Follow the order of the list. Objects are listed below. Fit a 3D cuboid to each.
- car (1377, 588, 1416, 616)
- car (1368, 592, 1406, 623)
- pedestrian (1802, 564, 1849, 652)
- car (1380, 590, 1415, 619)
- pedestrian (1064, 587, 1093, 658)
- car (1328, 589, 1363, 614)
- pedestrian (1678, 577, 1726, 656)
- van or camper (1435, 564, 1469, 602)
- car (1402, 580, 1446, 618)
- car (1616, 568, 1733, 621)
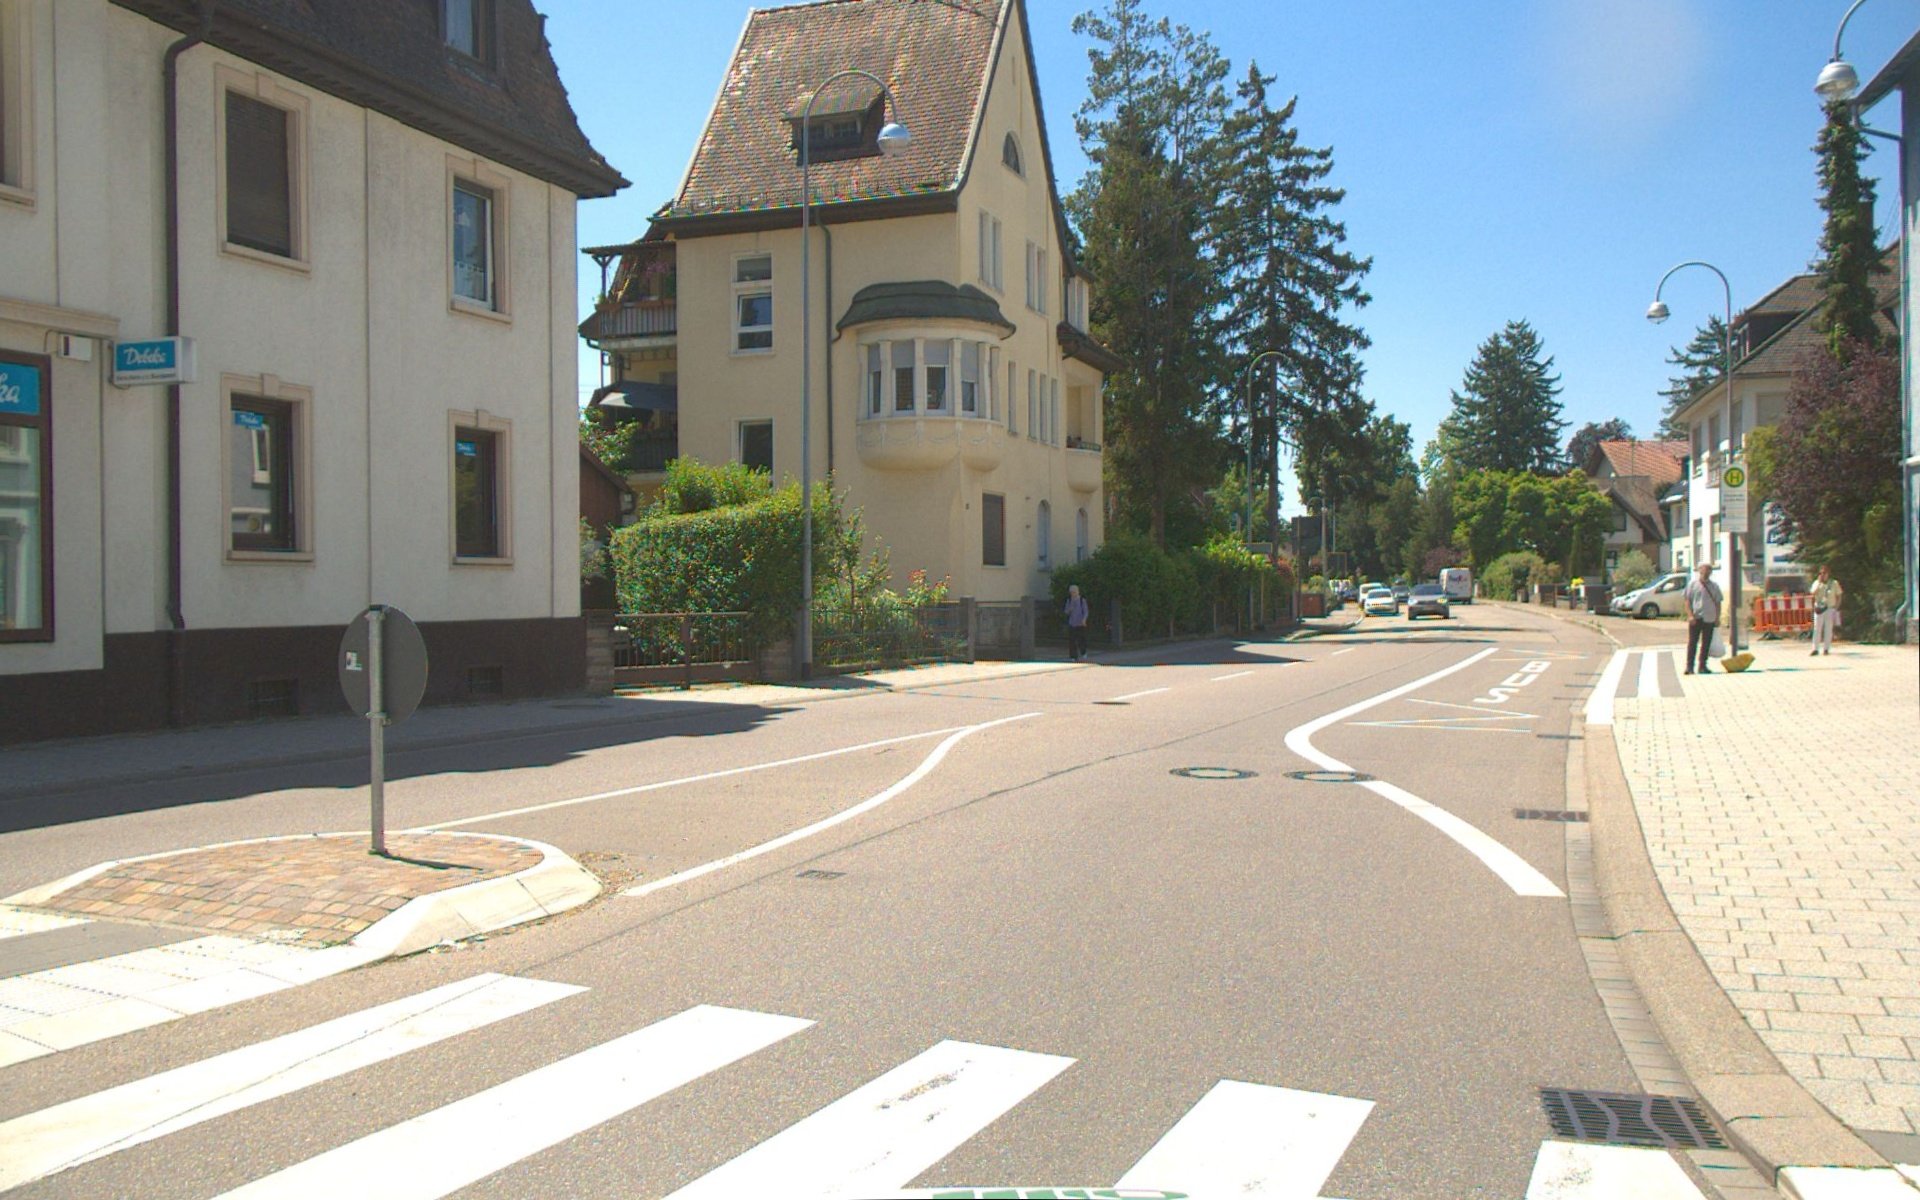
[{"bbox_3d":[32.815,0.152,124.539,1.952,2.049,4.001,0,0,1],"label":"car"},{"bbox_3d":[23.466,0.389,90.887,1.951,1.680,4.003,0,0,15],"label":"car"},{"bbox_3d":[16.439,0.146,31.422,0.653,1.621,0.587,-4,-1,23],"label":"pedestrian"},{"bbox_3d":[25.515,0.254,96.528,1.951,1.680,4.003,0,0,15],"label":"car"},{"bbox_3d":[2.563,0.482,35.690,0.512,1.535,0.473,0,0,22],"label":"pedestrian"},{"bbox_3d":[32.664,0.132,140.128,1.953,2.049,3.998,0,0,-2],"label":"car"},{"bbox_3d":[12.672,0.277,28.249,0.653,1.308,0.587,-4,-1,23],"label":"pedestrian"},{"bbox_3d":[35.450,-1.203,119.139,2.159,2.656,4.003,0,0,14],"label":"van or camper"},{"bbox_3d":[21.855,-0.057,77.920,1.951,1.747,4.003,0,0,15],"label":"car"},{"bbox_3d":[28.305,-0.210,65.629,3.902,2.049,2.002,0,0,10],"label":"car"}]
